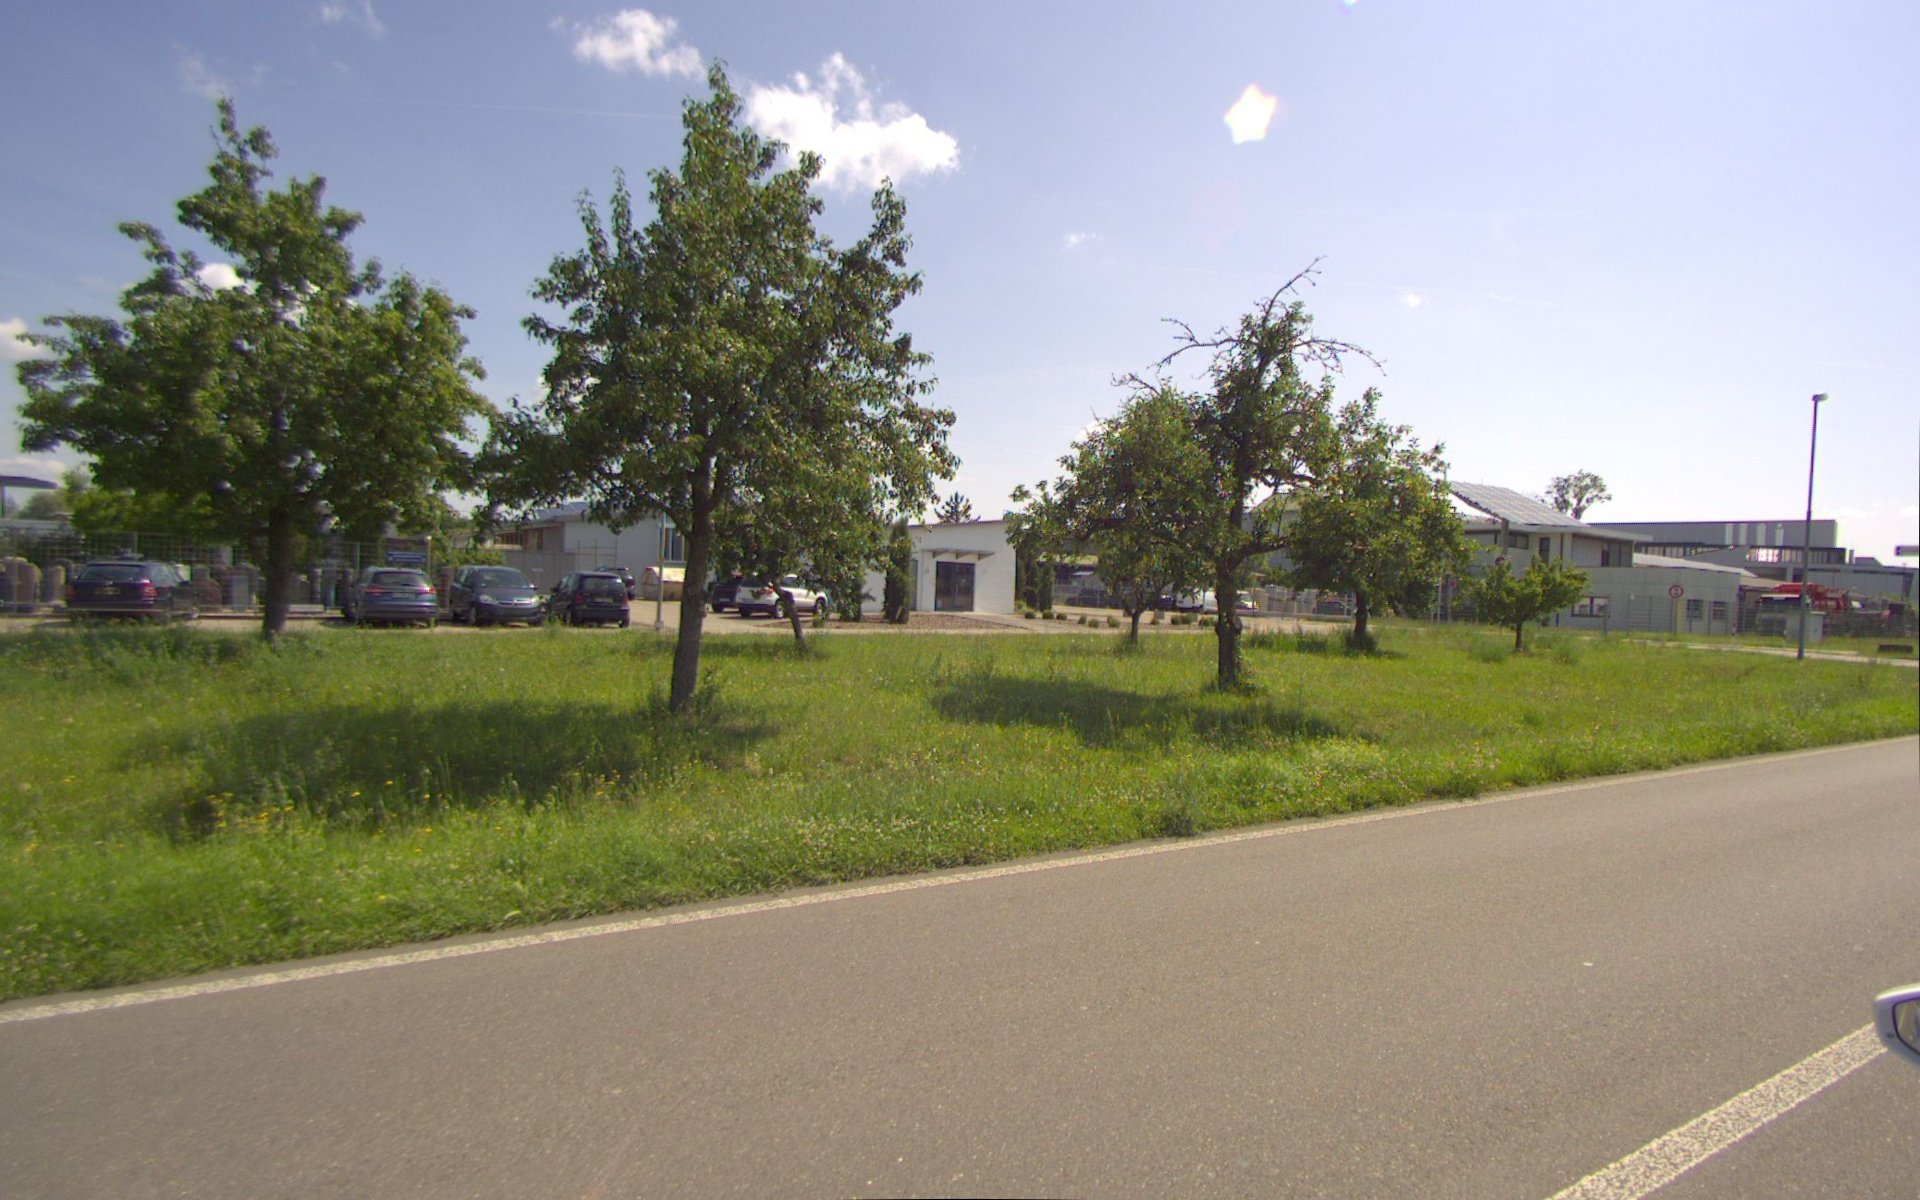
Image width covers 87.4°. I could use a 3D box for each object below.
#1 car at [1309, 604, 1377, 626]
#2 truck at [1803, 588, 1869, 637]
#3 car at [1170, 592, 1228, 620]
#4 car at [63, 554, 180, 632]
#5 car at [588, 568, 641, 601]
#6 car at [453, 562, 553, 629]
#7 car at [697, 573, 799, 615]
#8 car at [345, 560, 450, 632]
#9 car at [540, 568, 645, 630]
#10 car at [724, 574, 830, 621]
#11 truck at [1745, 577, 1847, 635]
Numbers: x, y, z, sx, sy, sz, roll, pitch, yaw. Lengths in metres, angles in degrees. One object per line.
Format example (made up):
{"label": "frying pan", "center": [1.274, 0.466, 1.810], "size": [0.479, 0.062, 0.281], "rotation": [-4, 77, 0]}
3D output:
{"label": "car", "center": [25.845, 0.979, 67.890], "size": [1.785, 1.261, 3.960], "rotation": [1, 2, -35]}
{"label": "truck", "center": [65.506, 0.966, 75.112], "size": [5.388, 3.498, 2.418], "rotation": [2, 1, -35]}
{"label": "car", "center": [18.943, 0.477, 79.548], "size": [4.704, 2.041, 1.976], "rotation": [1, 2, -41]}
{"label": "car", "center": [-18.931, -0.209, 22.821], "size": [1.649, 1.576, 3.960], "rotation": [2, 2, -35]}
{"label": "car", "center": [-17.655, -0.796, 51.162], "size": [1.975, 1.504, 4.140], "rotation": [2, 1, -27]}
{"label": "car", "center": [-12.800, -0.155, 28.002], "size": [1.840, 1.662, 3.960], "rotation": [1, 2, -35]}
{"label": "car", "center": [-8.703, -0.244, 41.593], "size": [1.962, 1.549, 4.166], "rotation": [3, 1, 25]}
{"label": "car", "center": [-14.628, -0.149, 26.034], "size": [1.980, 1.662, 3.960], "rotation": [2, 2, -35]}
{"label": "car", "center": [-10.991, -0.059, 29.895], "size": [1.980, 1.662, 3.960], "rotation": [1, 1, -35]}
{"label": "car", "center": [-6.967, -0.103, 38.653], "size": [1.962, 1.662, 4.166], "rotation": [3, 1, 25]}
{"label": "truck", "center": [57.181, 0.473, 68.567], "size": [10.166, 3.606, 2.734], "rotation": [2, 1, -36]}
